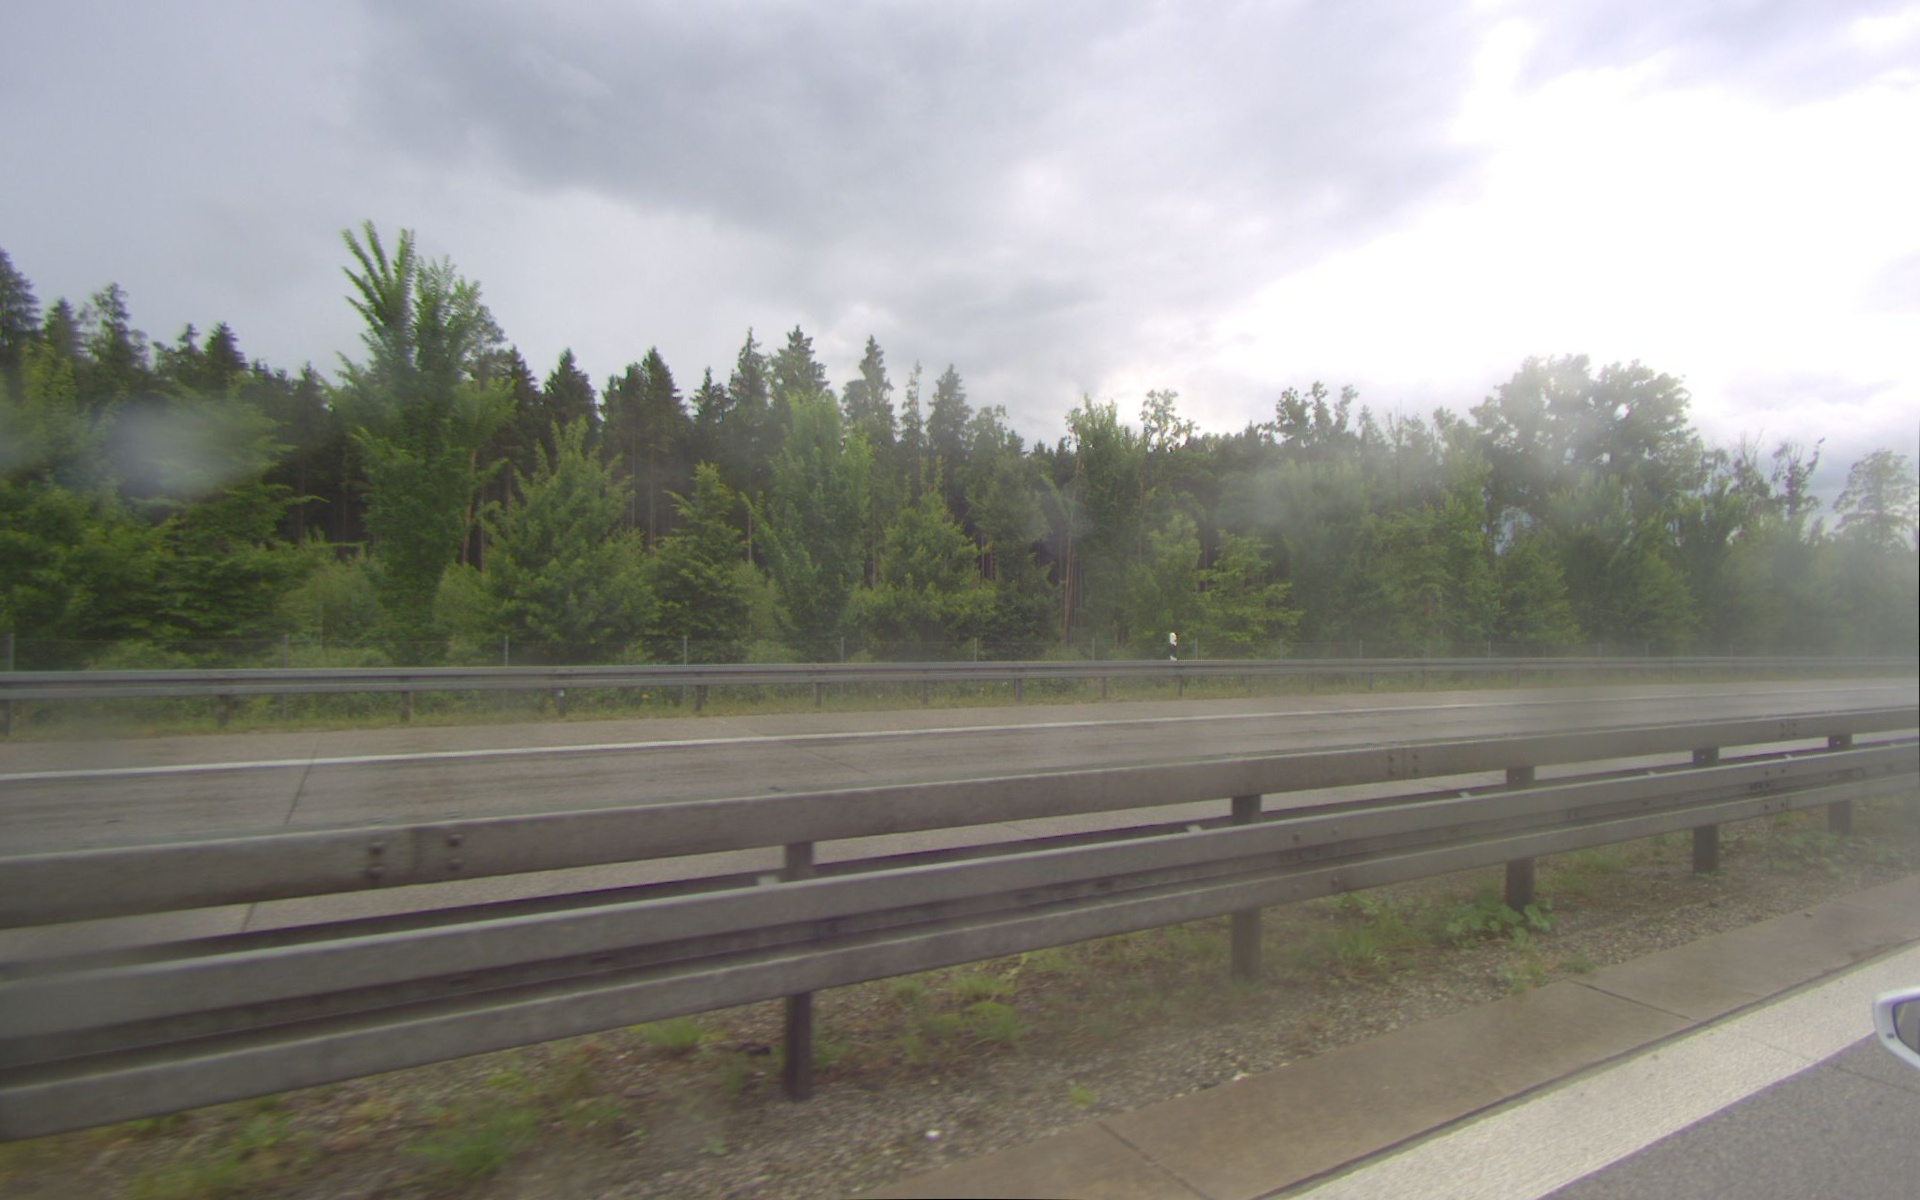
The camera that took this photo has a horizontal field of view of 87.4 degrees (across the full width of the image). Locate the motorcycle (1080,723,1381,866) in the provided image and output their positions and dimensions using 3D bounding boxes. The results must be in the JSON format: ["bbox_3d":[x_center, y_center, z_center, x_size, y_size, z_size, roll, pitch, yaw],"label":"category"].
[{"bbox_3d":[2.136,1.439,7.812,2.256,0.735,1.015,2,1,-33],"label":"motorcycle"}]

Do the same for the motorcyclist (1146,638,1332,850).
[{"bbox_3d":[2.156,1.052,7.814,0.911,1.451,1.008,2,1,-33],"label":"motorcyclist"}]
